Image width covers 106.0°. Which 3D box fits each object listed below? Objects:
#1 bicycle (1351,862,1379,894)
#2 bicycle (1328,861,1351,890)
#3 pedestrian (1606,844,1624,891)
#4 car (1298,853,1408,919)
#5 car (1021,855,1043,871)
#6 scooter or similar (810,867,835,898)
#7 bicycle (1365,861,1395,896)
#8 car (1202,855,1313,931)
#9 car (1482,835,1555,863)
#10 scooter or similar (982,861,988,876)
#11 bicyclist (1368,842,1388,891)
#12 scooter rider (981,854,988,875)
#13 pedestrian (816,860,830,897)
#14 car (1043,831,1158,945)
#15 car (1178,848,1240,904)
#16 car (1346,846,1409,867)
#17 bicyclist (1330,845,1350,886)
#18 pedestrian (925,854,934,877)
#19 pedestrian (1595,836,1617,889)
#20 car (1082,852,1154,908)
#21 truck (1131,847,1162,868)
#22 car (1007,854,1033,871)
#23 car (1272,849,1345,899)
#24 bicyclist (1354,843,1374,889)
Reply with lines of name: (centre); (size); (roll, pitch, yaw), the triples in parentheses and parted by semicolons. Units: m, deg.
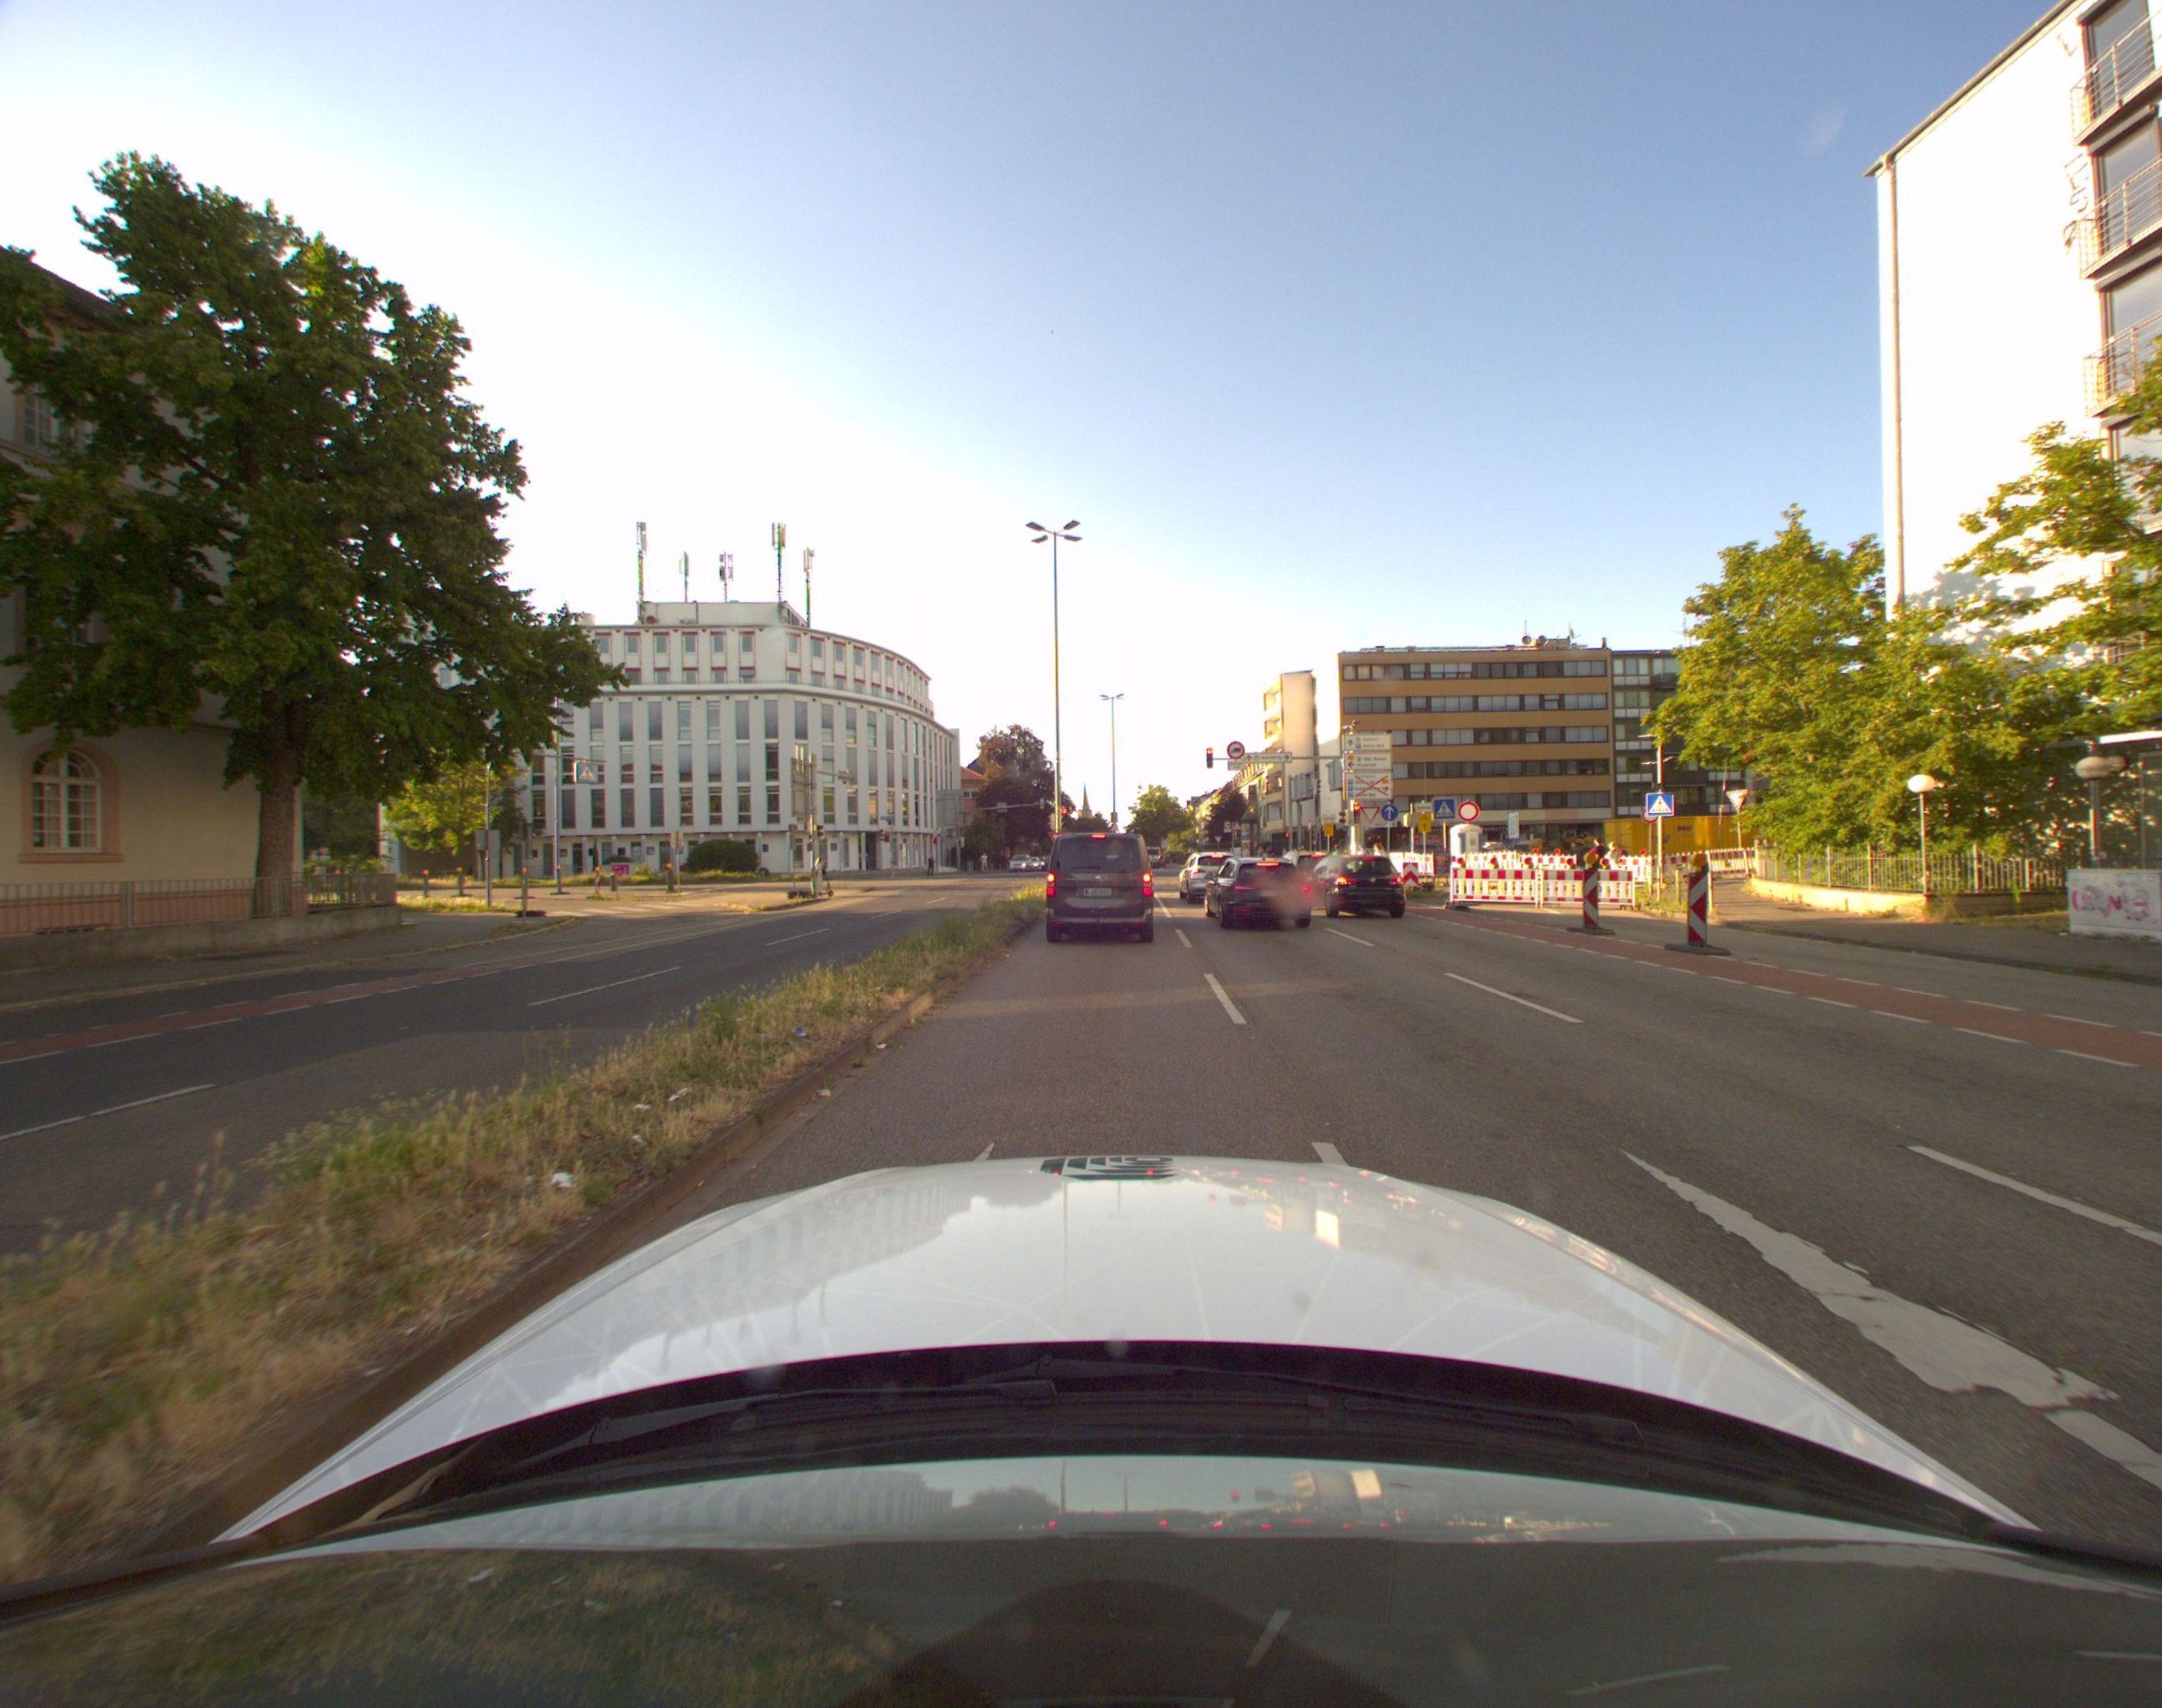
bicycle: (9.587, 0.794, 27.528); (0.335, 1.008, 1.857); (-1, 0, 3)
bicycle: (9.655, 0.789, 30.500); (0.335, 1.008, 1.857); (-1, 0, 3)
pedestrian: (19.255, 0.491, 29.362); (0.448, 1.671, 0.607); (-2, 0, 41)
car: (6.588, 0.715, 20.102); (1.627, 1.449, 3.747); (0, 0, 2)
car: (-4.714, 0.864, 78.898); (1.849, 1.420, 4.001); (-2, 0, 1)
scooter or similar: (-10.661, 1.153, 33.559); (0.893, 1.234, 0.370); (-1, 0, -9)
bicycle: (9.310, 0.743, 25.397); (0.335, 1.008, 1.857); (-1, 0, 3)
car: (3.670, 0.740, 17.628); (1.675, 1.421, 4.216); (0, 0, 2)
car: (31.650, -0.357, 59.041); (4.198, 1.817, 2.001); (-2, 0, 2)
scooter or similar: (-8.182, 1.222, 69.336); (0.284, 1.188, 1.170); (-1, 0, 3)
bicyclist: (9.291, 0.390, 25.462); (0.439, 1.525, 0.483); (-1, 0, 2)
scooter rider: (-8.218, 0.890, 69.454); (0.479, 1.697, 0.636); (-1, 0, 2)
pedestrian: (-10.679, 1.004, 33.725); (0.474, 1.505, 0.334); (-1, 0, -10)
car: (0.421, 0.554, 15.623); (1.899, 1.863, 4.529); (0, 0, 2)
car: (3.940, 0.640, 25.466); (1.522, 1.613, 3.747); (0, 0, 2)
car: (22.081, 0.192, 60.704); (3.979, 1.420, 1.785); (-1, 0, -4)
bicyclist: (9.695, 0.435, 30.548); (0.511, 1.525, 0.726); (-1, 0, 2)
pedestrian: (-11.576, 0.903, 62.248); (0.626, 1.722, 0.669); (-1, 0, -11)
pedestrian: (18.514, 0.284, 28.720); (0.575, 1.834, 0.481); (-1, 0, -44)
car: (1.132, 0.742, 24.907); (1.985, 1.530, 4.003); (-1, 0, 2)
truck: (7.033, 0.364, 87.960); (2.128, 2.086, 4.615); (-1, 0, -10)
car: (-5.454, 0.738, 73.335); (1.849, 1.420, 4.001); (-2, 0, 1)
car: (7.121, 0.600, 25.736); (1.499, 1.449, 3.307); (-1, 0, 2)
bicyclist: (9.589, 0.409, 27.612); (0.439, 1.525, 0.726); (-1, 0, 2)
